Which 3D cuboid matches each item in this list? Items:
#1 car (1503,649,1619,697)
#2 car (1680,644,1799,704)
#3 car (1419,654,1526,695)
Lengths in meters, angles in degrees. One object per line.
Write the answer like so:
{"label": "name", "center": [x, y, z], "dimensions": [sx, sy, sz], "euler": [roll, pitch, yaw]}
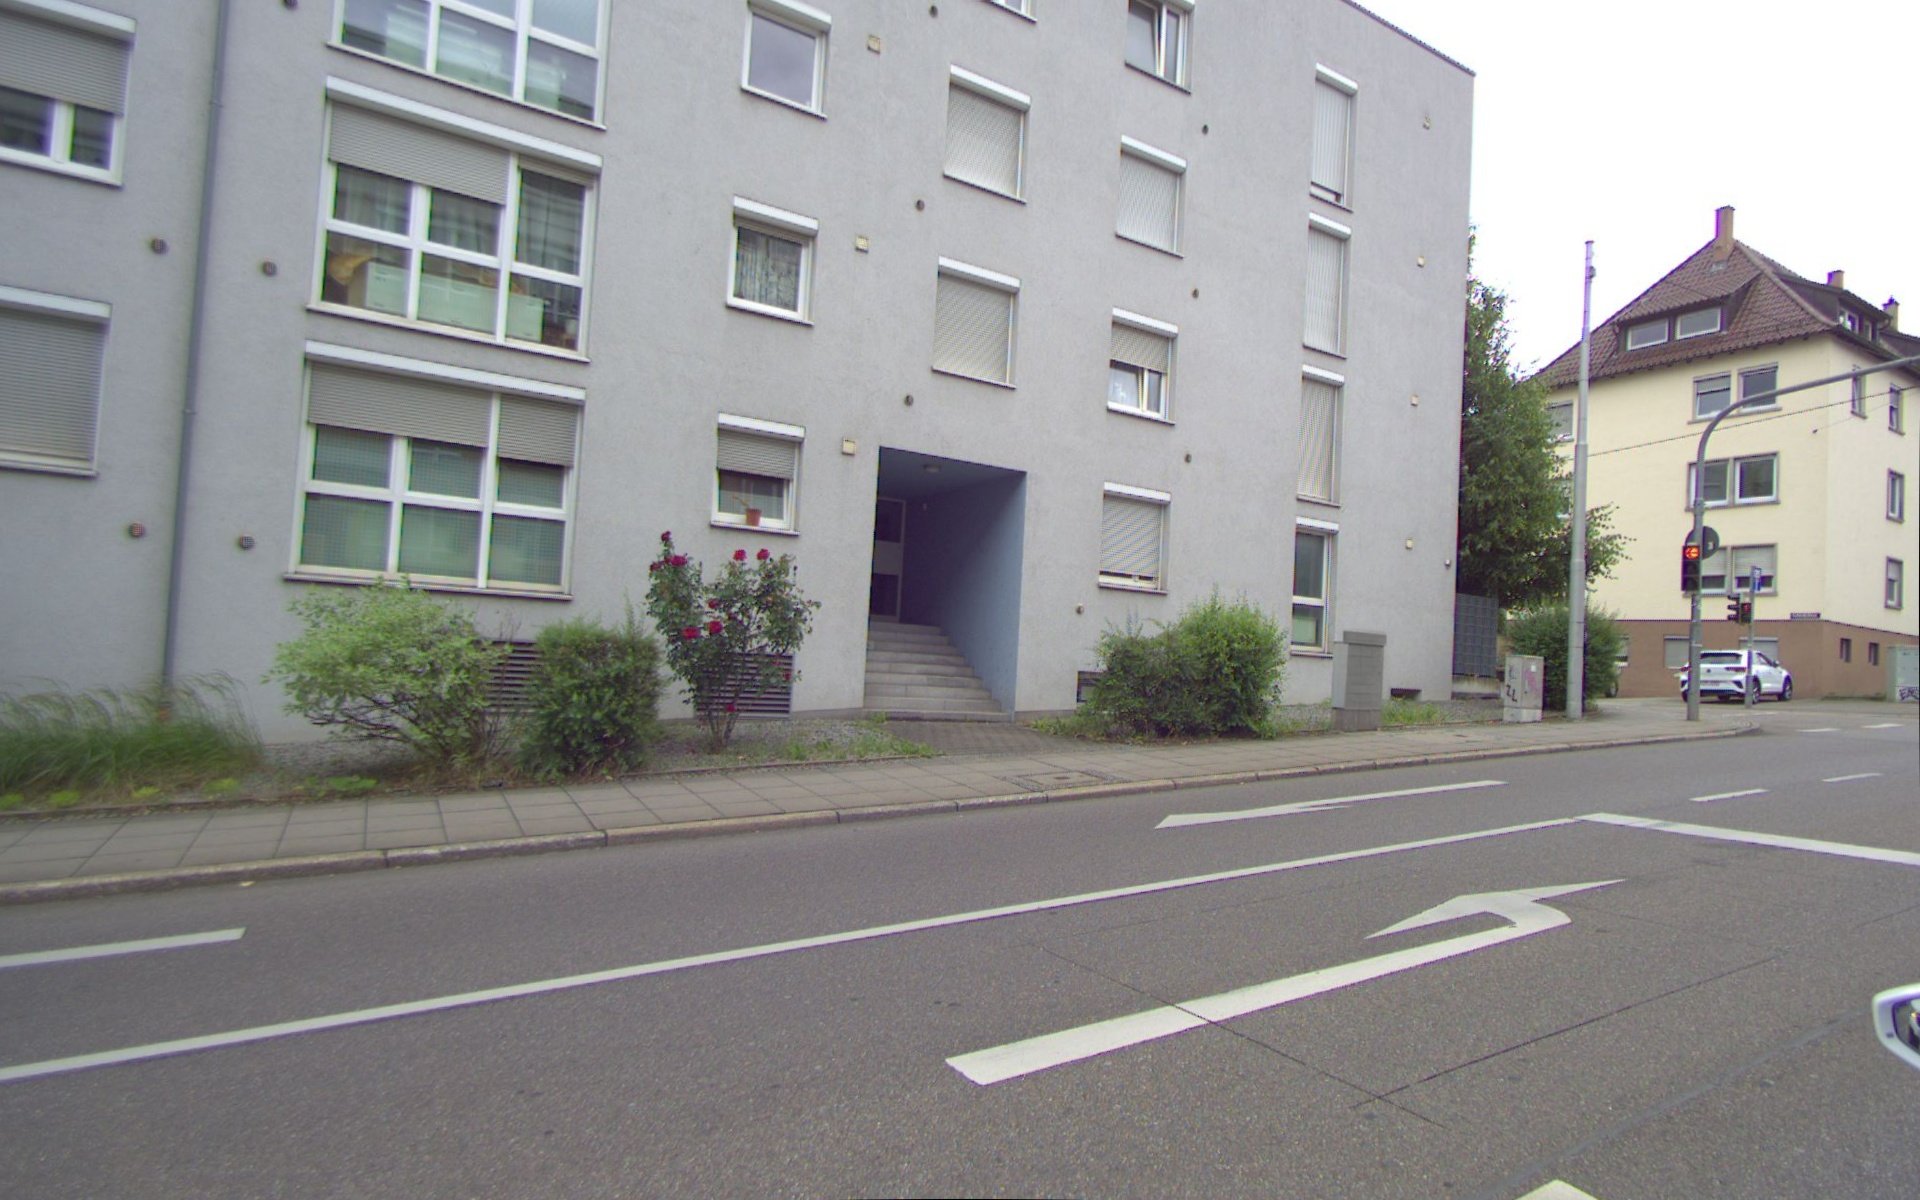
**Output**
{"label": "car", "center": [20.657, 2.501, 34.506], "dimensions": [4.053, 1.566, 1.662], "euler": [2, -4, -30]}
{"label": "car", "center": [23.332, 2.178, 30.030], "dimensions": [3.960, 1.683, 1.660], "euler": [2, -4, -35]}
{"label": "car", "center": [18.872, 2.714, 36.936], "dimensions": [3.953, 1.380, 1.662], "euler": [2, -1, -30]}
